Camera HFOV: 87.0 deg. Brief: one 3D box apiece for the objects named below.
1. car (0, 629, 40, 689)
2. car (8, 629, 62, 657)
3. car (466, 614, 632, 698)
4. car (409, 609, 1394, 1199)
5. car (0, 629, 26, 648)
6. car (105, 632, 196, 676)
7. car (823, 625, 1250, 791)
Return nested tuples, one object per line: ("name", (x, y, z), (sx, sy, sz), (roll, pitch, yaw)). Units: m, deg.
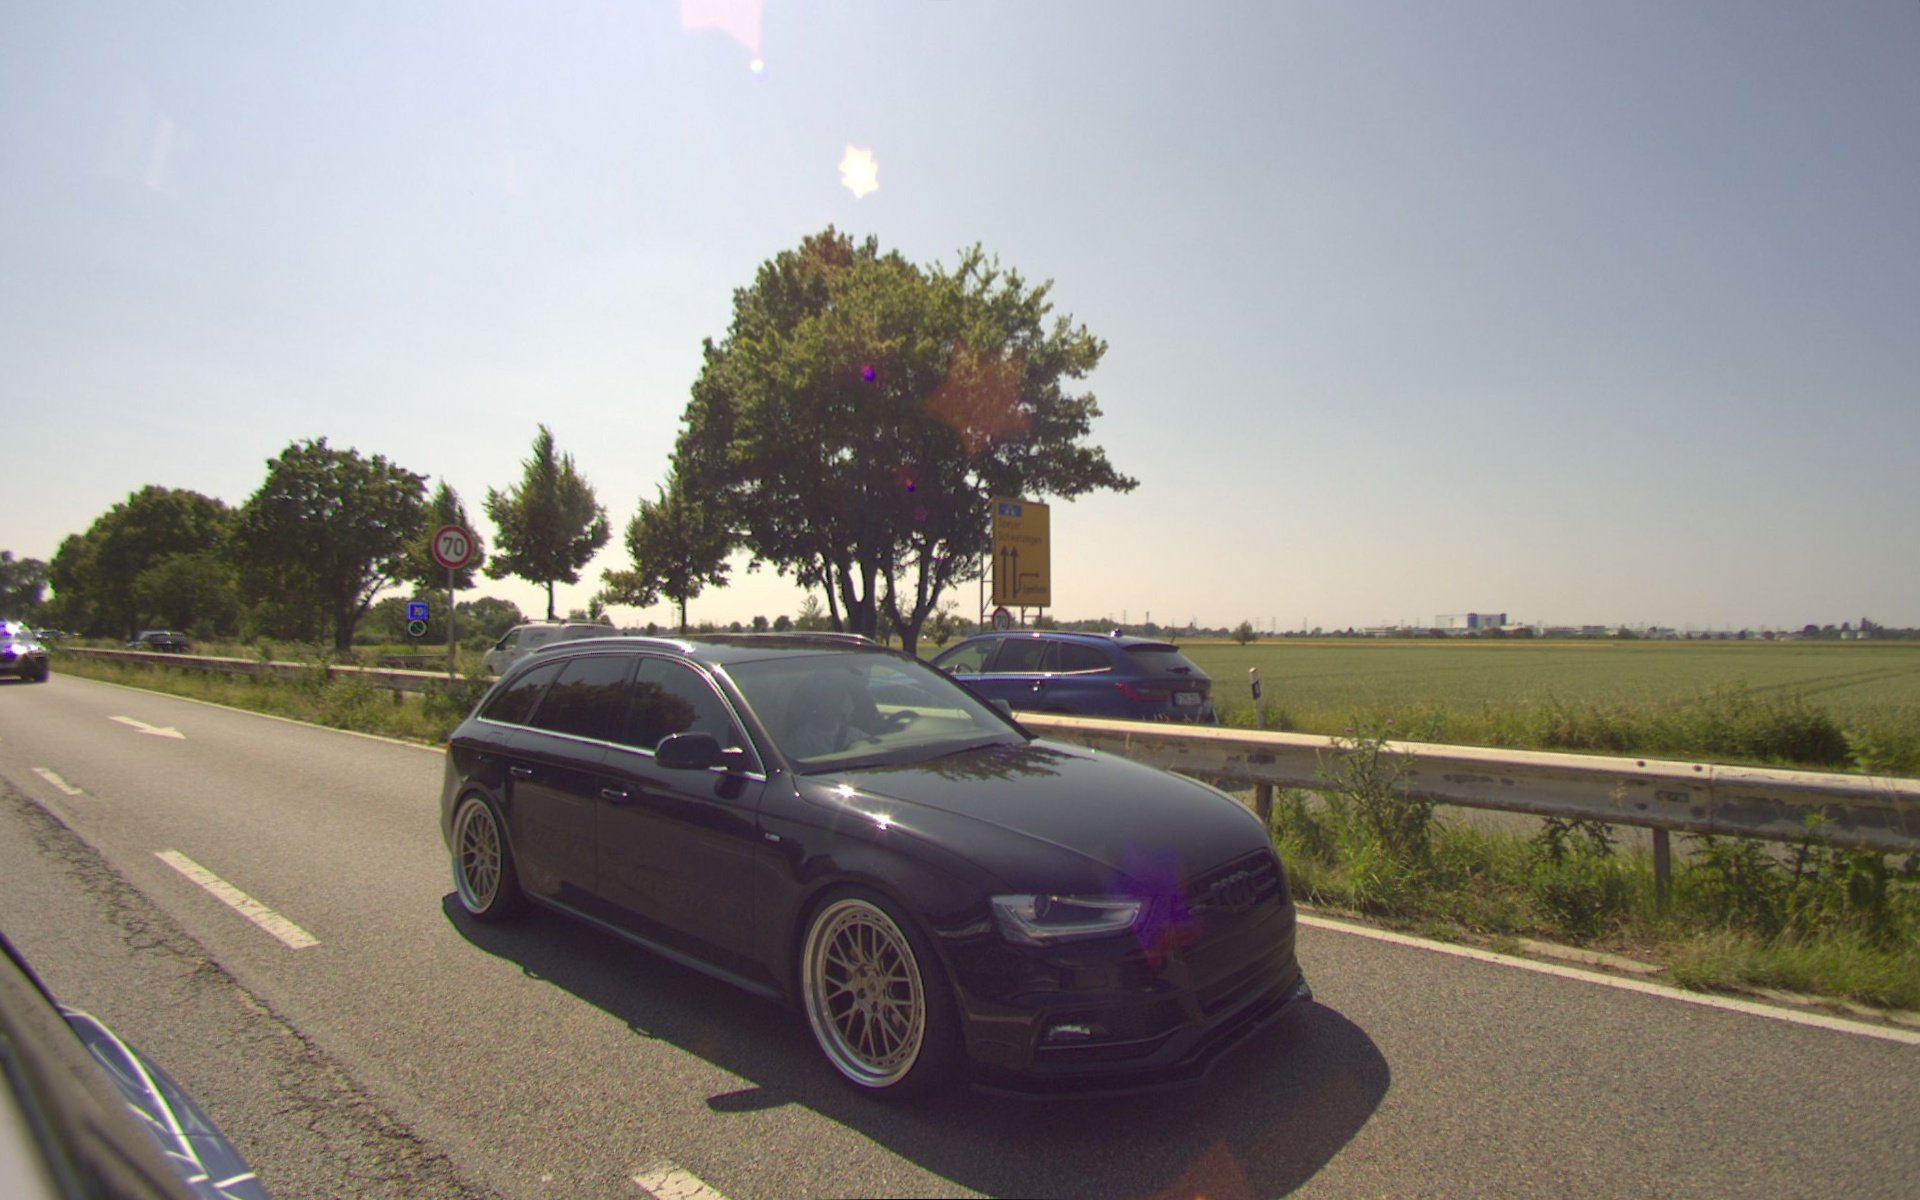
("car", (-26.058, 1.554, 27.067), (4.100, 1.527, 1.835), (-2, -1, 43))
("car", (-58.246, 2.675, 63.723), (4.478, 1.675, 1.973), (-2, -3, 41))
("car", (-10.633, 1.375, 26.008), (4.827, 1.966, 1.973), (-2, -3, 41))
("car", (-0.674, 0.780, 4.489), (4.454, 1.391, 1.722), (-2, -1, 42))
("car", (-103.064, 4.192, 109.794), (4.924, 1.975, 1.973), (-2, -3, 41))
("car", (-31.665, 2.051, 39.542), (4.478, 1.615, 1.973), (-2, -3, 41))
("car", (0.677, 1.025, 11.171), (4.502, 1.465, 1.859), (-2, -3, 41))
